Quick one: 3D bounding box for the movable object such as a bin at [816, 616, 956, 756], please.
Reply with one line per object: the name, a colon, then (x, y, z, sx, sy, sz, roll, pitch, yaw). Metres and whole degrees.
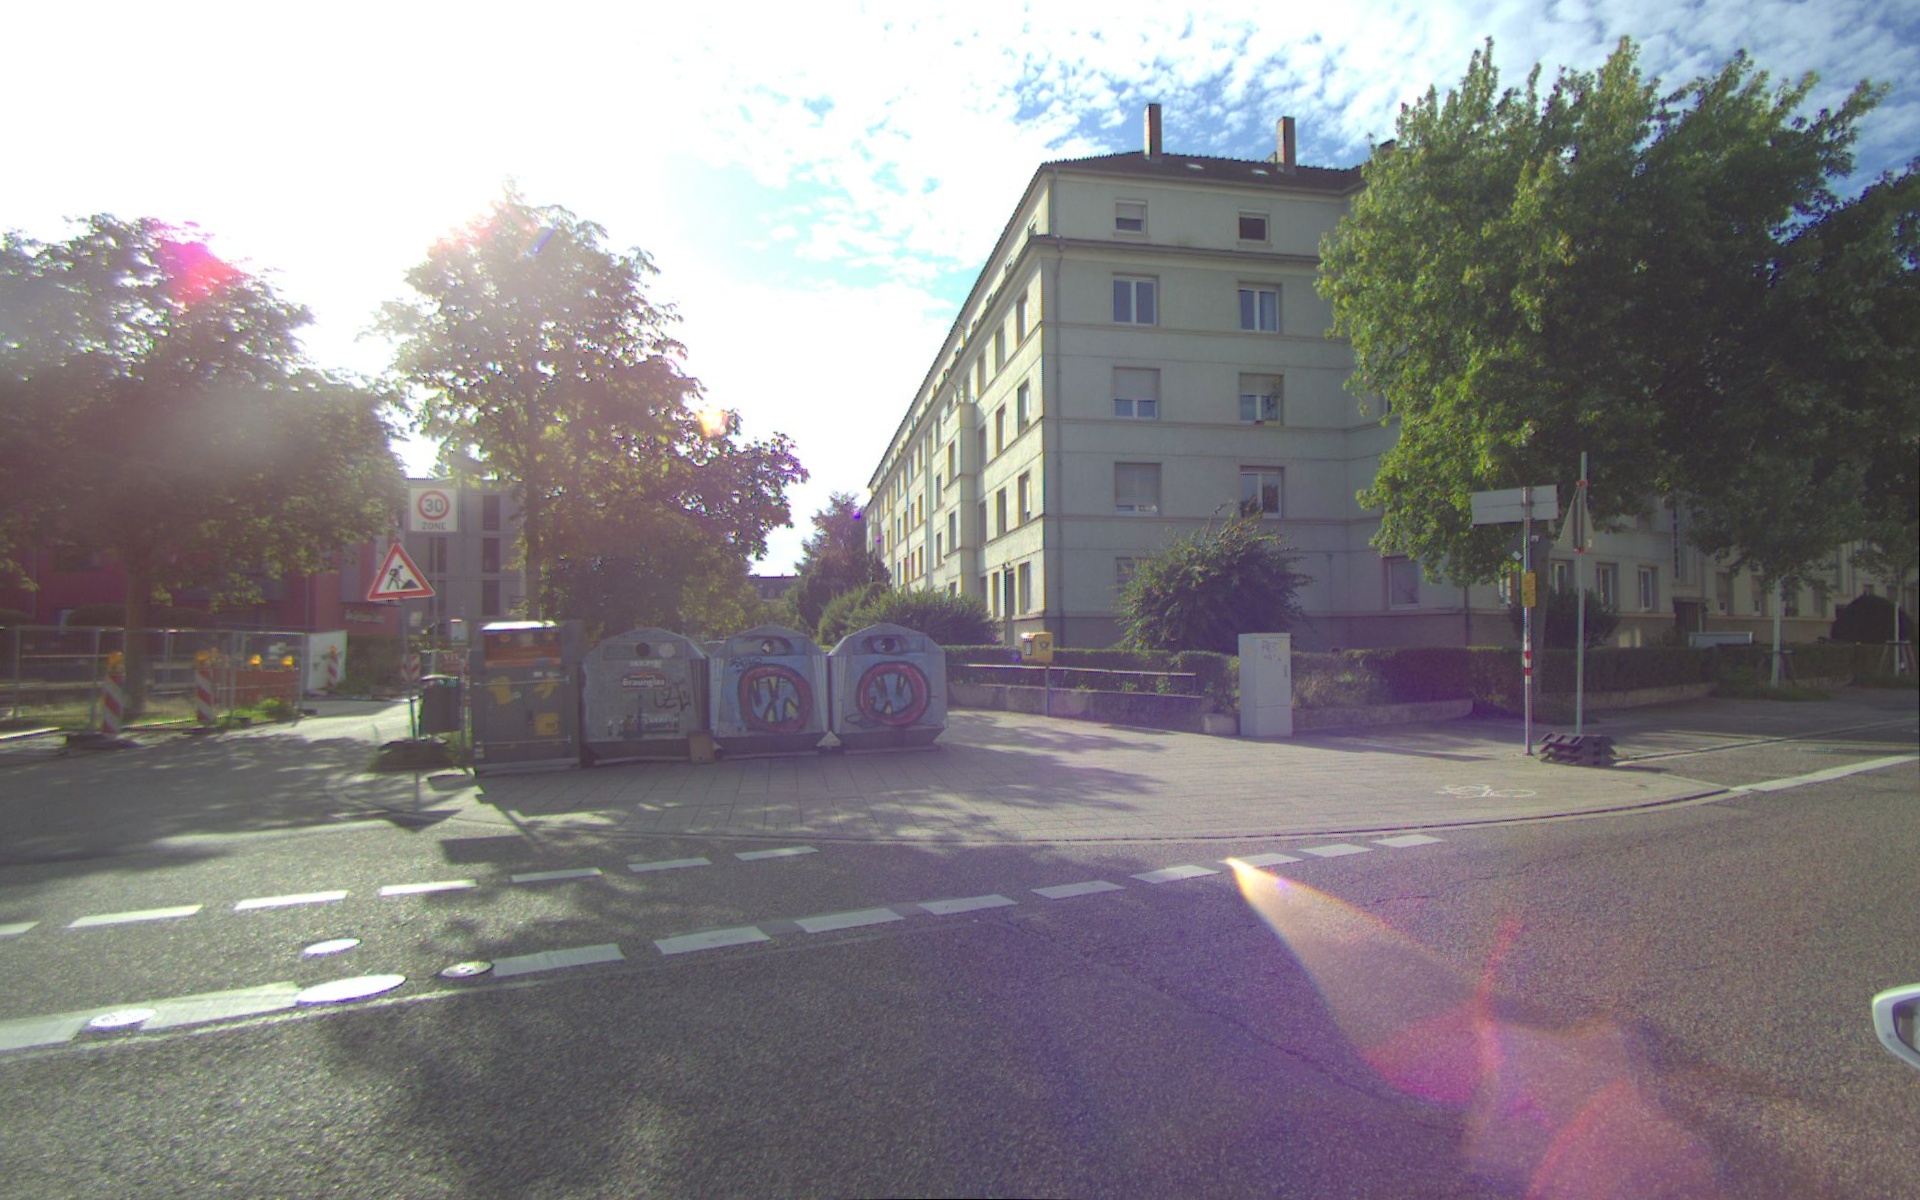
movable object such as a bin: (-1.130, 1.124, 14.130, 1.387, 1.730, 3.104, 1, -2, -15)

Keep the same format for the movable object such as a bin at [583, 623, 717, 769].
movable object such as a bin: (-4.105, 1.201, 13.647, 1.521, 1.730, 3.105, 1, -2, -14)

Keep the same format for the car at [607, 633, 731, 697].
car: (-9.777, 2.174, 34.043, 3.932, 2.040, 1.995, 0, -3, -14)

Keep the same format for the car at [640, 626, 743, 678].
car: (-10.985, 2.133, 41.126, 3.936, 2.040, 1.993, 1, -2, -17)
